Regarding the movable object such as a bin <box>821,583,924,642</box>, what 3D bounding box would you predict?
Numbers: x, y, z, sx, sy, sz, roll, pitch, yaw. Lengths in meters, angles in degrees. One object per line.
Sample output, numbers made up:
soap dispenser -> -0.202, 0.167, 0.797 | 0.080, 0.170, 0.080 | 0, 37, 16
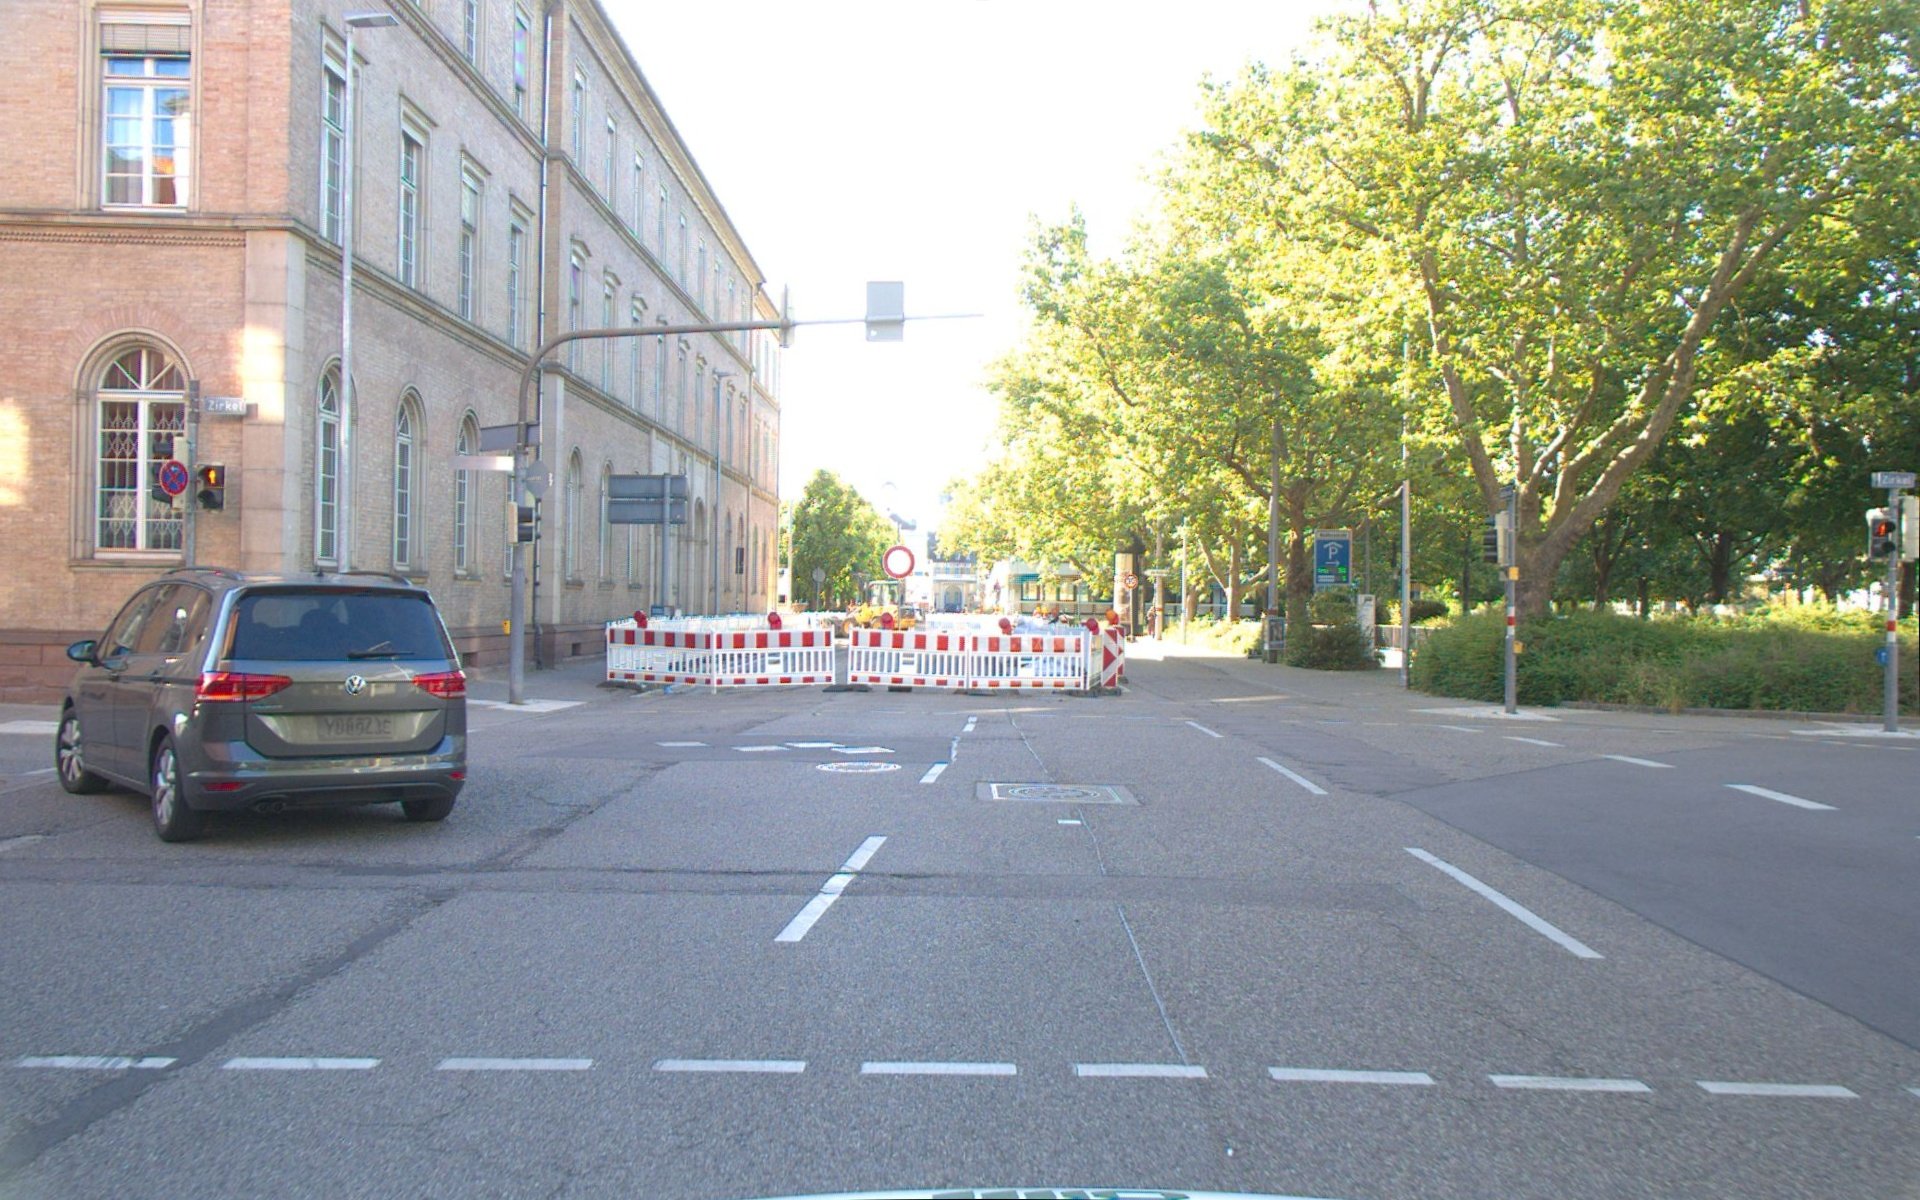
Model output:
movable object such as a bin -> -4.342, 0.600, 81.670 | 4.756, 2.825, 2.458 | 0, -1, 42

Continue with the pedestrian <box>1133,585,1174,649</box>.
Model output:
pedestrian -> 8.375, 0.722, 71.521 | 1.394, 2.714, 1.145 | 0, -1, 33

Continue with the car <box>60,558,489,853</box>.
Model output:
car -> -4.804, 0.565, 11.264 | 1.749, 1.635, 3.947 | 1, 0, -37
